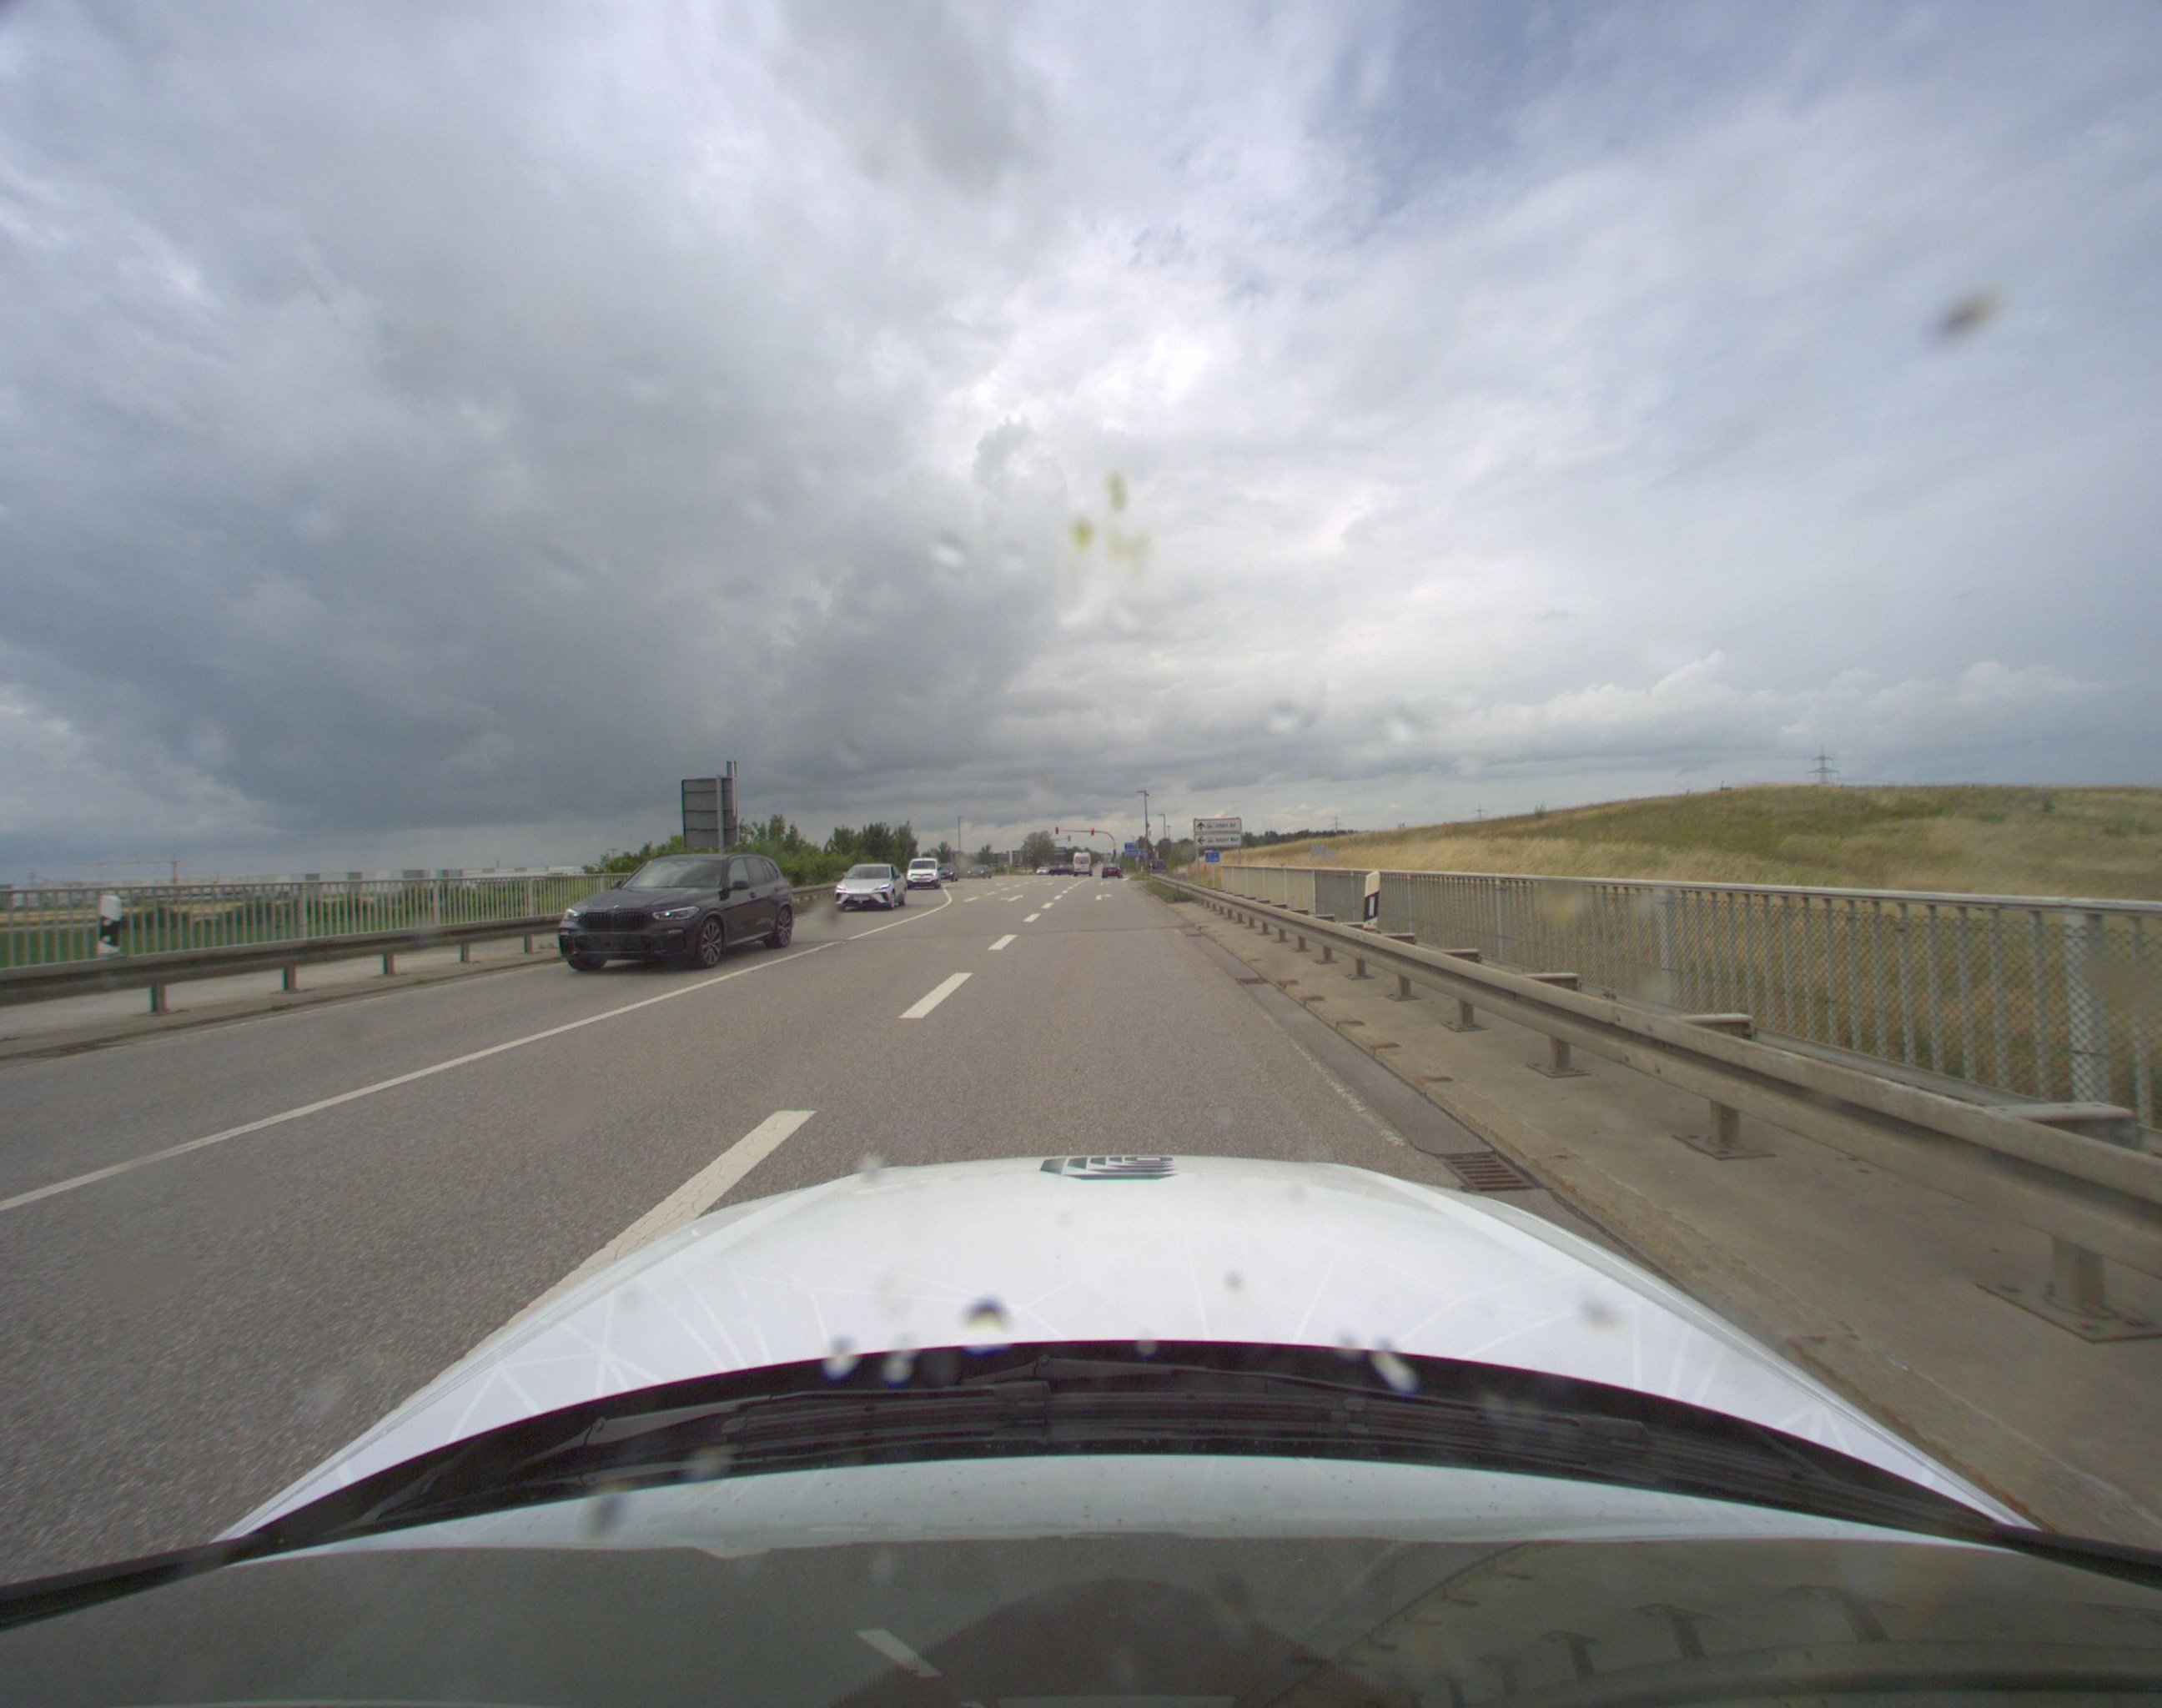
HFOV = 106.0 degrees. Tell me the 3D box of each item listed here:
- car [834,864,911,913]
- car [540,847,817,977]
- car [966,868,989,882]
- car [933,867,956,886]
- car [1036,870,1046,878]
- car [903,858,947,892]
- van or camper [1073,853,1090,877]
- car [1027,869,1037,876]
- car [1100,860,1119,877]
[{"bbox_3d":[-6.938,1.120,27.471,1.708,1.487,4.273,-1,-1,-4],"label":"car"},{"bbox_3d":[-6.260,0.836,13.452,1.985,1.732,4.765,-1,-1,3],"label":"car"},{"bbox_3d":[-10.810,2.181,85.574,1.803,1.369,4.784,-2,-1,0],"label":"car"},{"bbox_3d":[-11.343,1.839,67.700,1.580,1.557,4.137,-1,-1,-6],"label":"car"},{"bbox_3d":[-7.266,3.705,149.783,1.475,1.282,3.536,-2,-1,3],"label":"car"},{"bbox_3d":[-9.146,1.237,48.107,1.949,1.875,4.813,-1,-1,-4],"label":"car"},{"bbox_3d":[0.075,1.252,90.808,1.869,2.581,4.001,0,-1,2],"label":"van or camper"},{"bbox_3d":[-9.458,3.603,158.201,1.475,1.282,3.536,-2,-1,3],"label":"car"},{"bbox_3d":[2.627,1.291,74.061,1.510,1.485,3.621,-2,-1,5],"label":"car"}]
